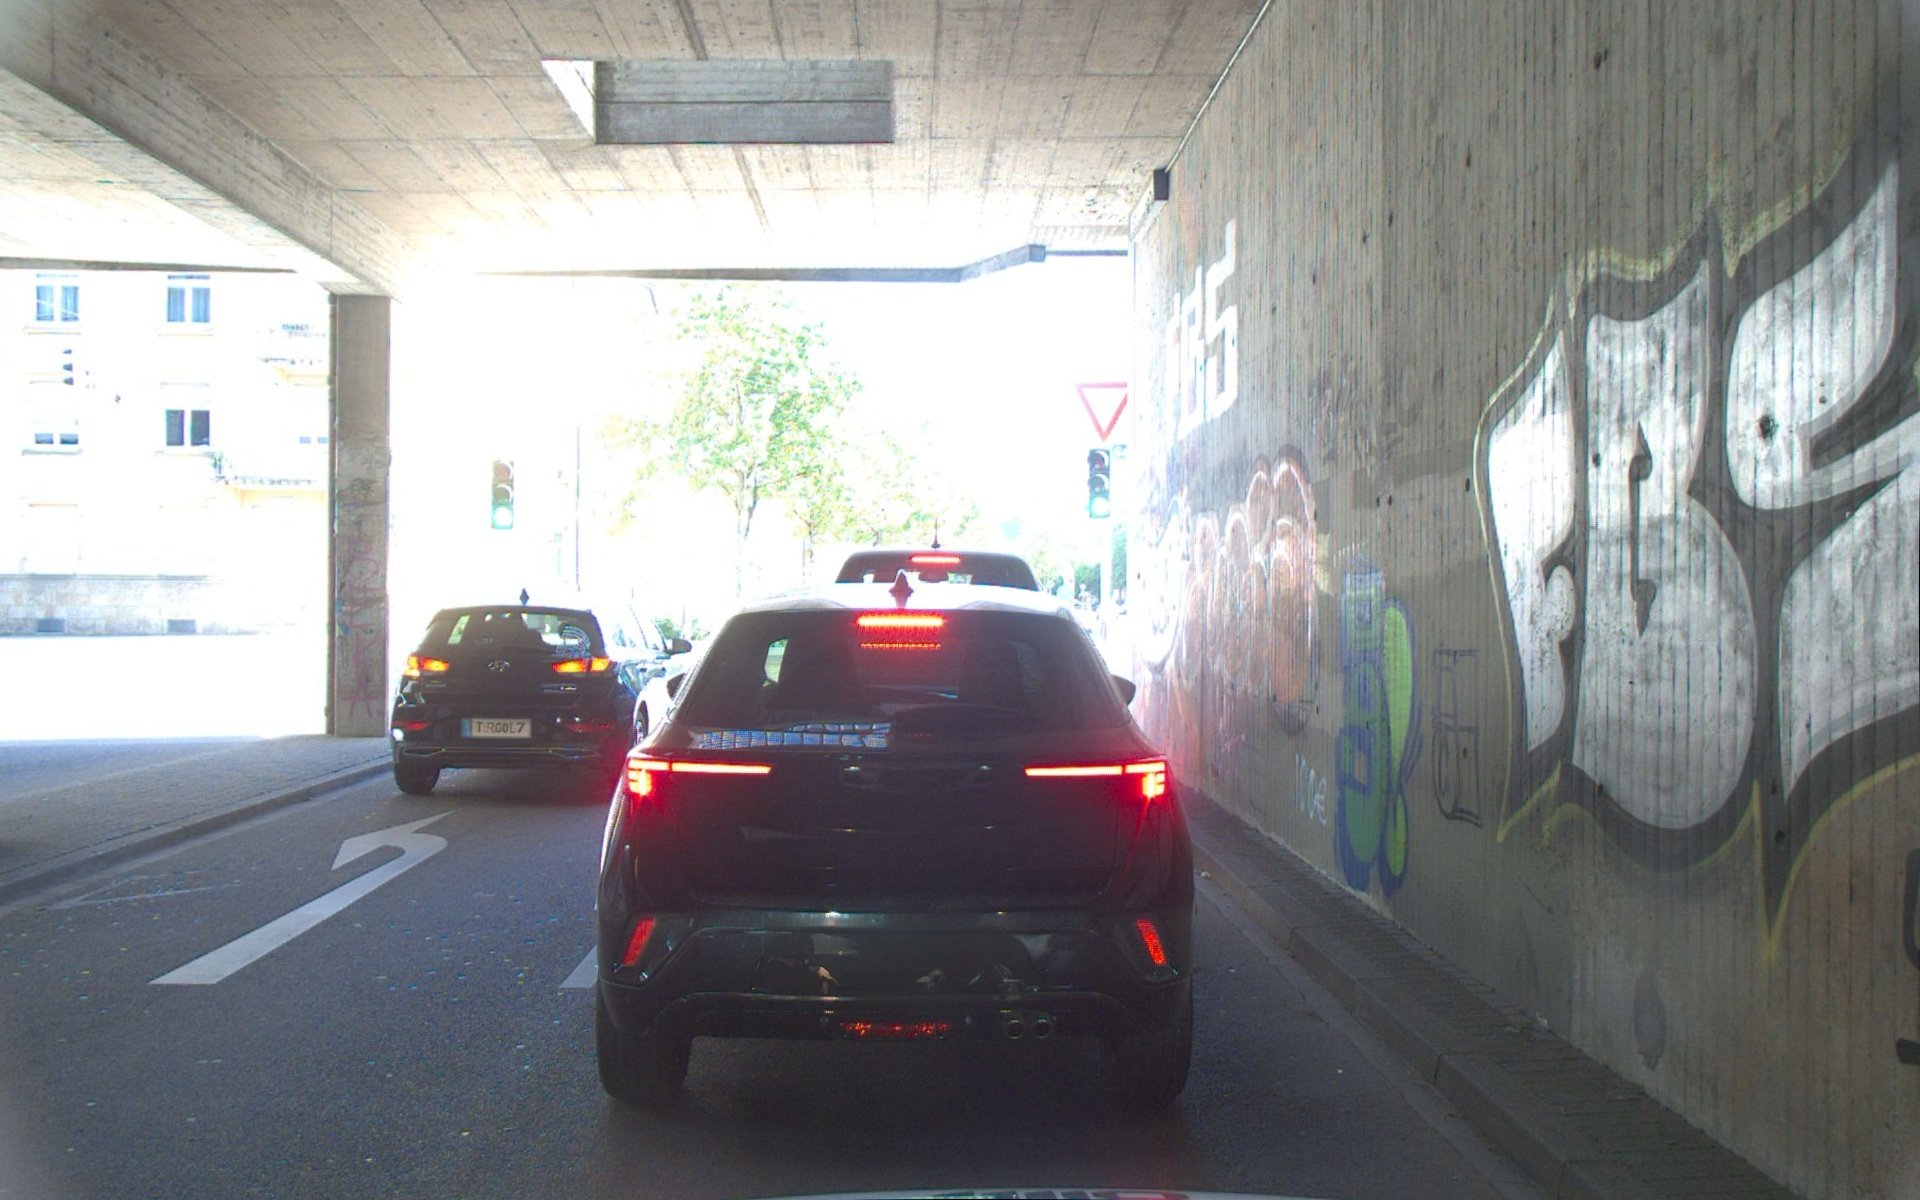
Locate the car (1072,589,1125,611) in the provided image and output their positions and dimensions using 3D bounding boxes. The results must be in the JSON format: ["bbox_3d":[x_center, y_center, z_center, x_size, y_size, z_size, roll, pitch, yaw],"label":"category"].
[{"bbox_3d":[13.477,0.009,161.111,4.802,2.119,1.978,0,-1,-15],"label":"car"}]

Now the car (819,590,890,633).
[{"bbox_3d":[-3.751,0.390,59.515,1.622,1.466,3.466,0,0,13],"label":"car"}]

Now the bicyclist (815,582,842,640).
[{"bbox_3d":[-4.044,0.322,50.968,0.730,1.741,0.967,0,2,2],"label":"bicyclist"}]

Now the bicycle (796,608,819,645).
[{"bbox_3d":[-4.943,0.840,53.569,0.530,1.142,2.059,0,0,1],"label":"bicycle"}]

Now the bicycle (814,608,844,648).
[{"bbox_3d":[-4.033,0.853,51.026,0.683,1.109,1.861,0,2,2],"label":"bicycle"}]

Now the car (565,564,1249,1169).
[{"bbox_3d":[-0.159,0.682,6.137,1.745,1.544,3.755,1,0,-1],"label":"car"}]

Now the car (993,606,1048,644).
[{"bbox_3d":[2.523,1.022,68.414,1.671,1.477,3.854,0,0,11],"label":"car"}]

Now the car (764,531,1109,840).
[{"bbox_3d":[-0.248,0.505,12.518,2.090,1.867,4.938,0,0,-3],"label":"car"}]

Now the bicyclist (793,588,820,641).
[{"bbox_3d":[-4.965,0.456,53.646,0.766,1.689,1.031,0,0,1],"label":"bicyclist"}]

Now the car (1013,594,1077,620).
[{"bbox_3d":[6.904,0.563,134.236,4.822,2.119,1.969,0,-1,-26],"label":"car"}]

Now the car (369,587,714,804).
[{"bbox_3d":[-3.190,0.644,13.501,1.764,1.476,4.325,0,0,-1],"label":"car"}]

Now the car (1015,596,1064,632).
[{"bbox_3d":[3.639,0.612,75.111,1.668,1.539,3.866,-2,0,11],"label":"car"}]

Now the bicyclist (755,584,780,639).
[{"bbox_3d":[-5.873,0.340,50.412,0.593,1.661,0.910,0,0,4],"label":"bicyclist"}]

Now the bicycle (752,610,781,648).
[{"bbox_3d":[-5.883,0.879,50.313,0.514,1.109,1.861,0,0,4],"label":"bicycle"}]

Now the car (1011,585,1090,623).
[{"bbox_3d":[6.363,0.269,116.193,5.175,2.590,1.977,0,-1,-16],"label":"car"}]
